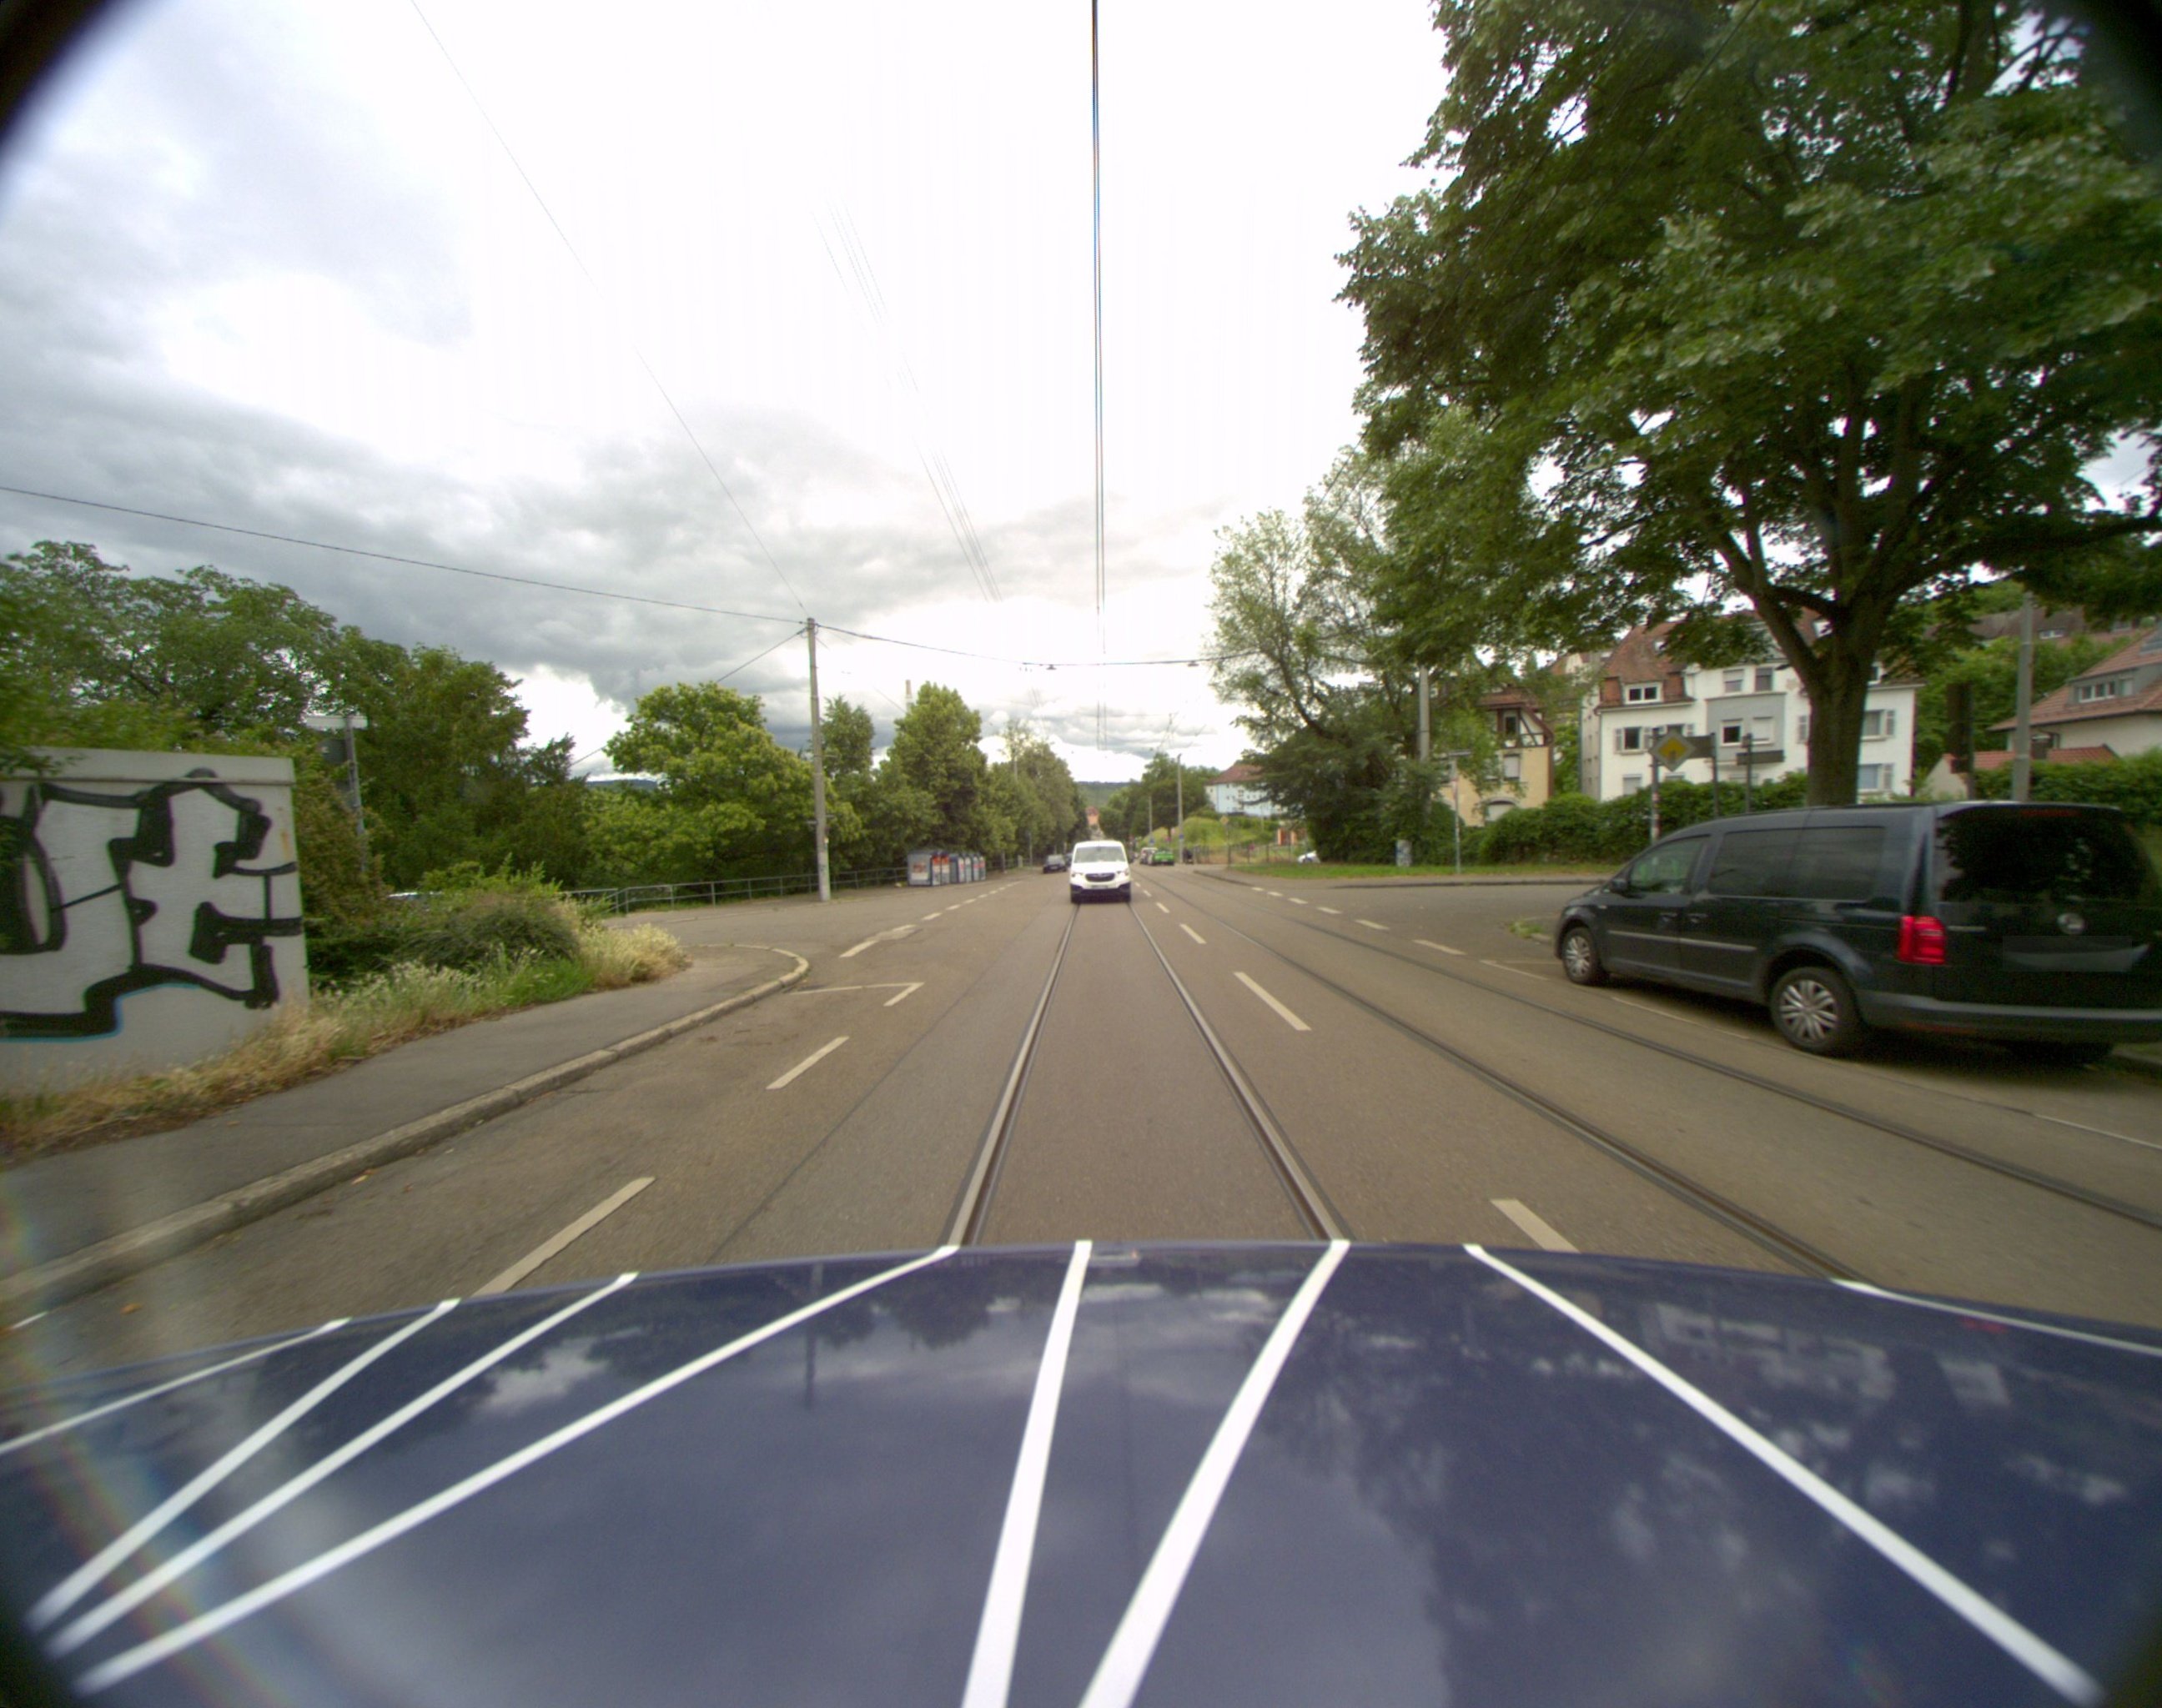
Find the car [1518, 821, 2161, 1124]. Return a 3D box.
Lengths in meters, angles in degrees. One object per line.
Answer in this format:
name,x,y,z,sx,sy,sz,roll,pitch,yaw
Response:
car,6.081,0.682,6.816,1.766,1.765,4.668,1,1,3

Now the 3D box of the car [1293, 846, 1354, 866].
car,17.371,0.146,54.425,4.004,1.370,1.698,-1,1,25

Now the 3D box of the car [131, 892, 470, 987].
car,-16.220,1.709,16.128,1.896,1.372,4.607,-5,-1,28

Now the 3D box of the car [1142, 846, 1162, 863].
car,8.121,0.044,87.202,1.901,1.935,4.291,0,1,1

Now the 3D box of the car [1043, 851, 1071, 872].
car,-1.897,0.560,60.895,1.863,1.434,4.388,-5,0,2

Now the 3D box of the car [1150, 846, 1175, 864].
car,7.164,0.102,67.004,1.855,1.532,3.948,-2,0,1

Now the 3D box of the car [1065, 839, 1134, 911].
car,0.592,0.545,22.373,1.759,1.824,4.448,-2,0,2

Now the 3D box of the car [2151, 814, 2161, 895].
car,21.811,-0.053,13.264,1.753,1.469,3.605,-4,1,-35

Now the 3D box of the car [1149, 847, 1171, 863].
car,7.568,0.085,73.105,1.855,1.485,3.948,0,1,1

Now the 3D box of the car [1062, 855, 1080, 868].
car,-1.175,0.879,89.725,1.822,1.344,3.940,-4,0,3

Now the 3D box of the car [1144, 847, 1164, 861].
car,7.836,0.011,81.597,1.855,1.485,3.948,0,1,1
